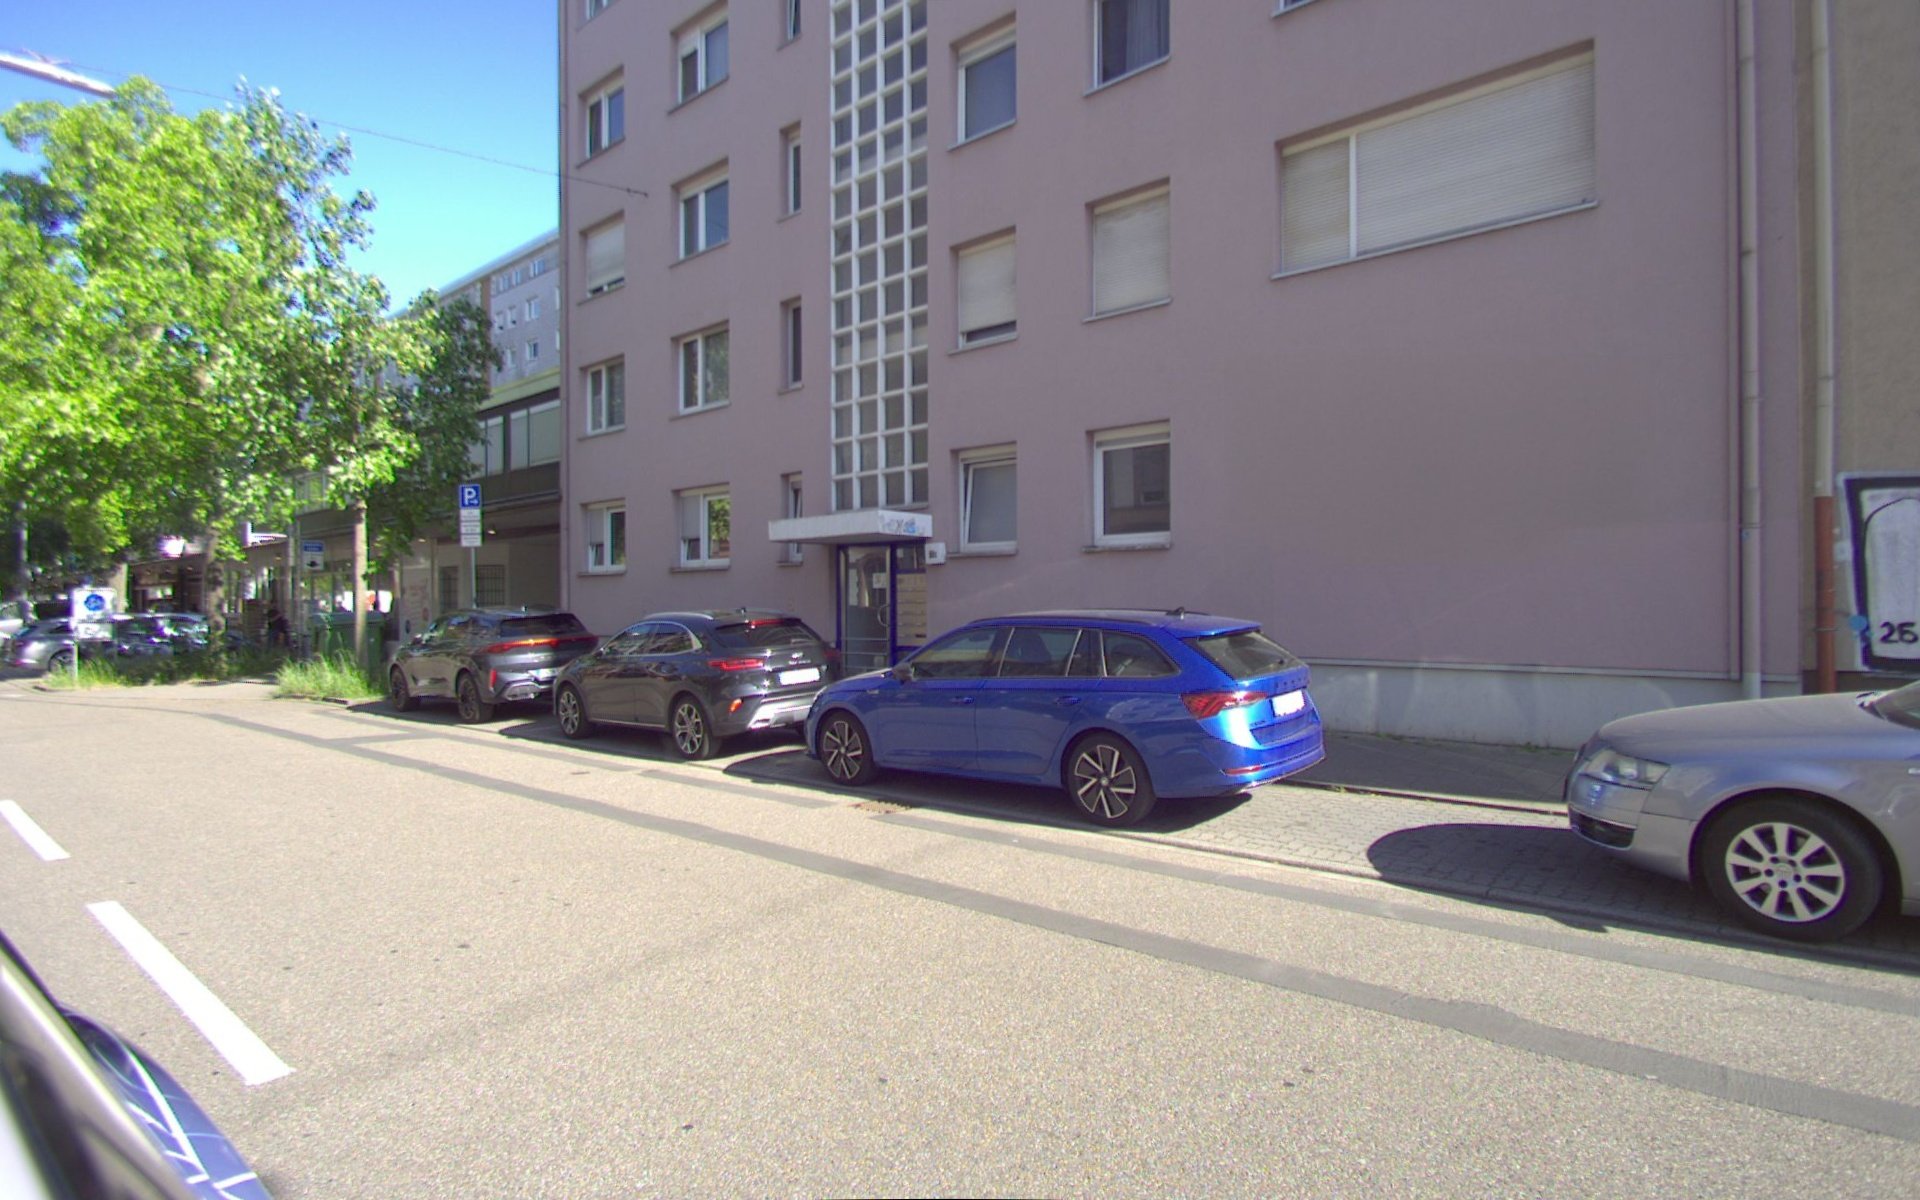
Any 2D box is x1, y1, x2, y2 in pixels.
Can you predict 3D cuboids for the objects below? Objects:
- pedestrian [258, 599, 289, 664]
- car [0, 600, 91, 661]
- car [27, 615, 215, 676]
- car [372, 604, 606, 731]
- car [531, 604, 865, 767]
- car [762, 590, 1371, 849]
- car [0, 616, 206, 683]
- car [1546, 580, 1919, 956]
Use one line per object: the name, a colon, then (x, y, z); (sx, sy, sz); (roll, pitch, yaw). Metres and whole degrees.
pedestrian: (-19.621, 0.892, 28.925); (0.502, 1.820, 0.615); (-1, -1, 42)
car: (-32.875, 1.061, 35.235); (1.913, 2.058, 3.824); (-1, -1, 43)
car: (-23.904, 1.236, 28.908); (1.913, 1.564, 3.943); (-1, -1, 43)
car: (-7.182, 0.910, 15.240); (4.157, 1.588, 1.704); (-1, 1, 43)
car: (-3.144, 0.847, 11.650); (4.157, 1.478, 1.704); (-1, 1, 43)
car: (0.628, 0.758, 8.363); (4.797, 1.514, 1.805); (-1, 1, 40)
car: (-22.050, 1.207, 26.089); (1.913, 1.564, 3.943); (-1, -1, 43)
car: (5.334, 0.665, 4.186); (4.797, 1.514, 1.805); (-1, 1, 40)
